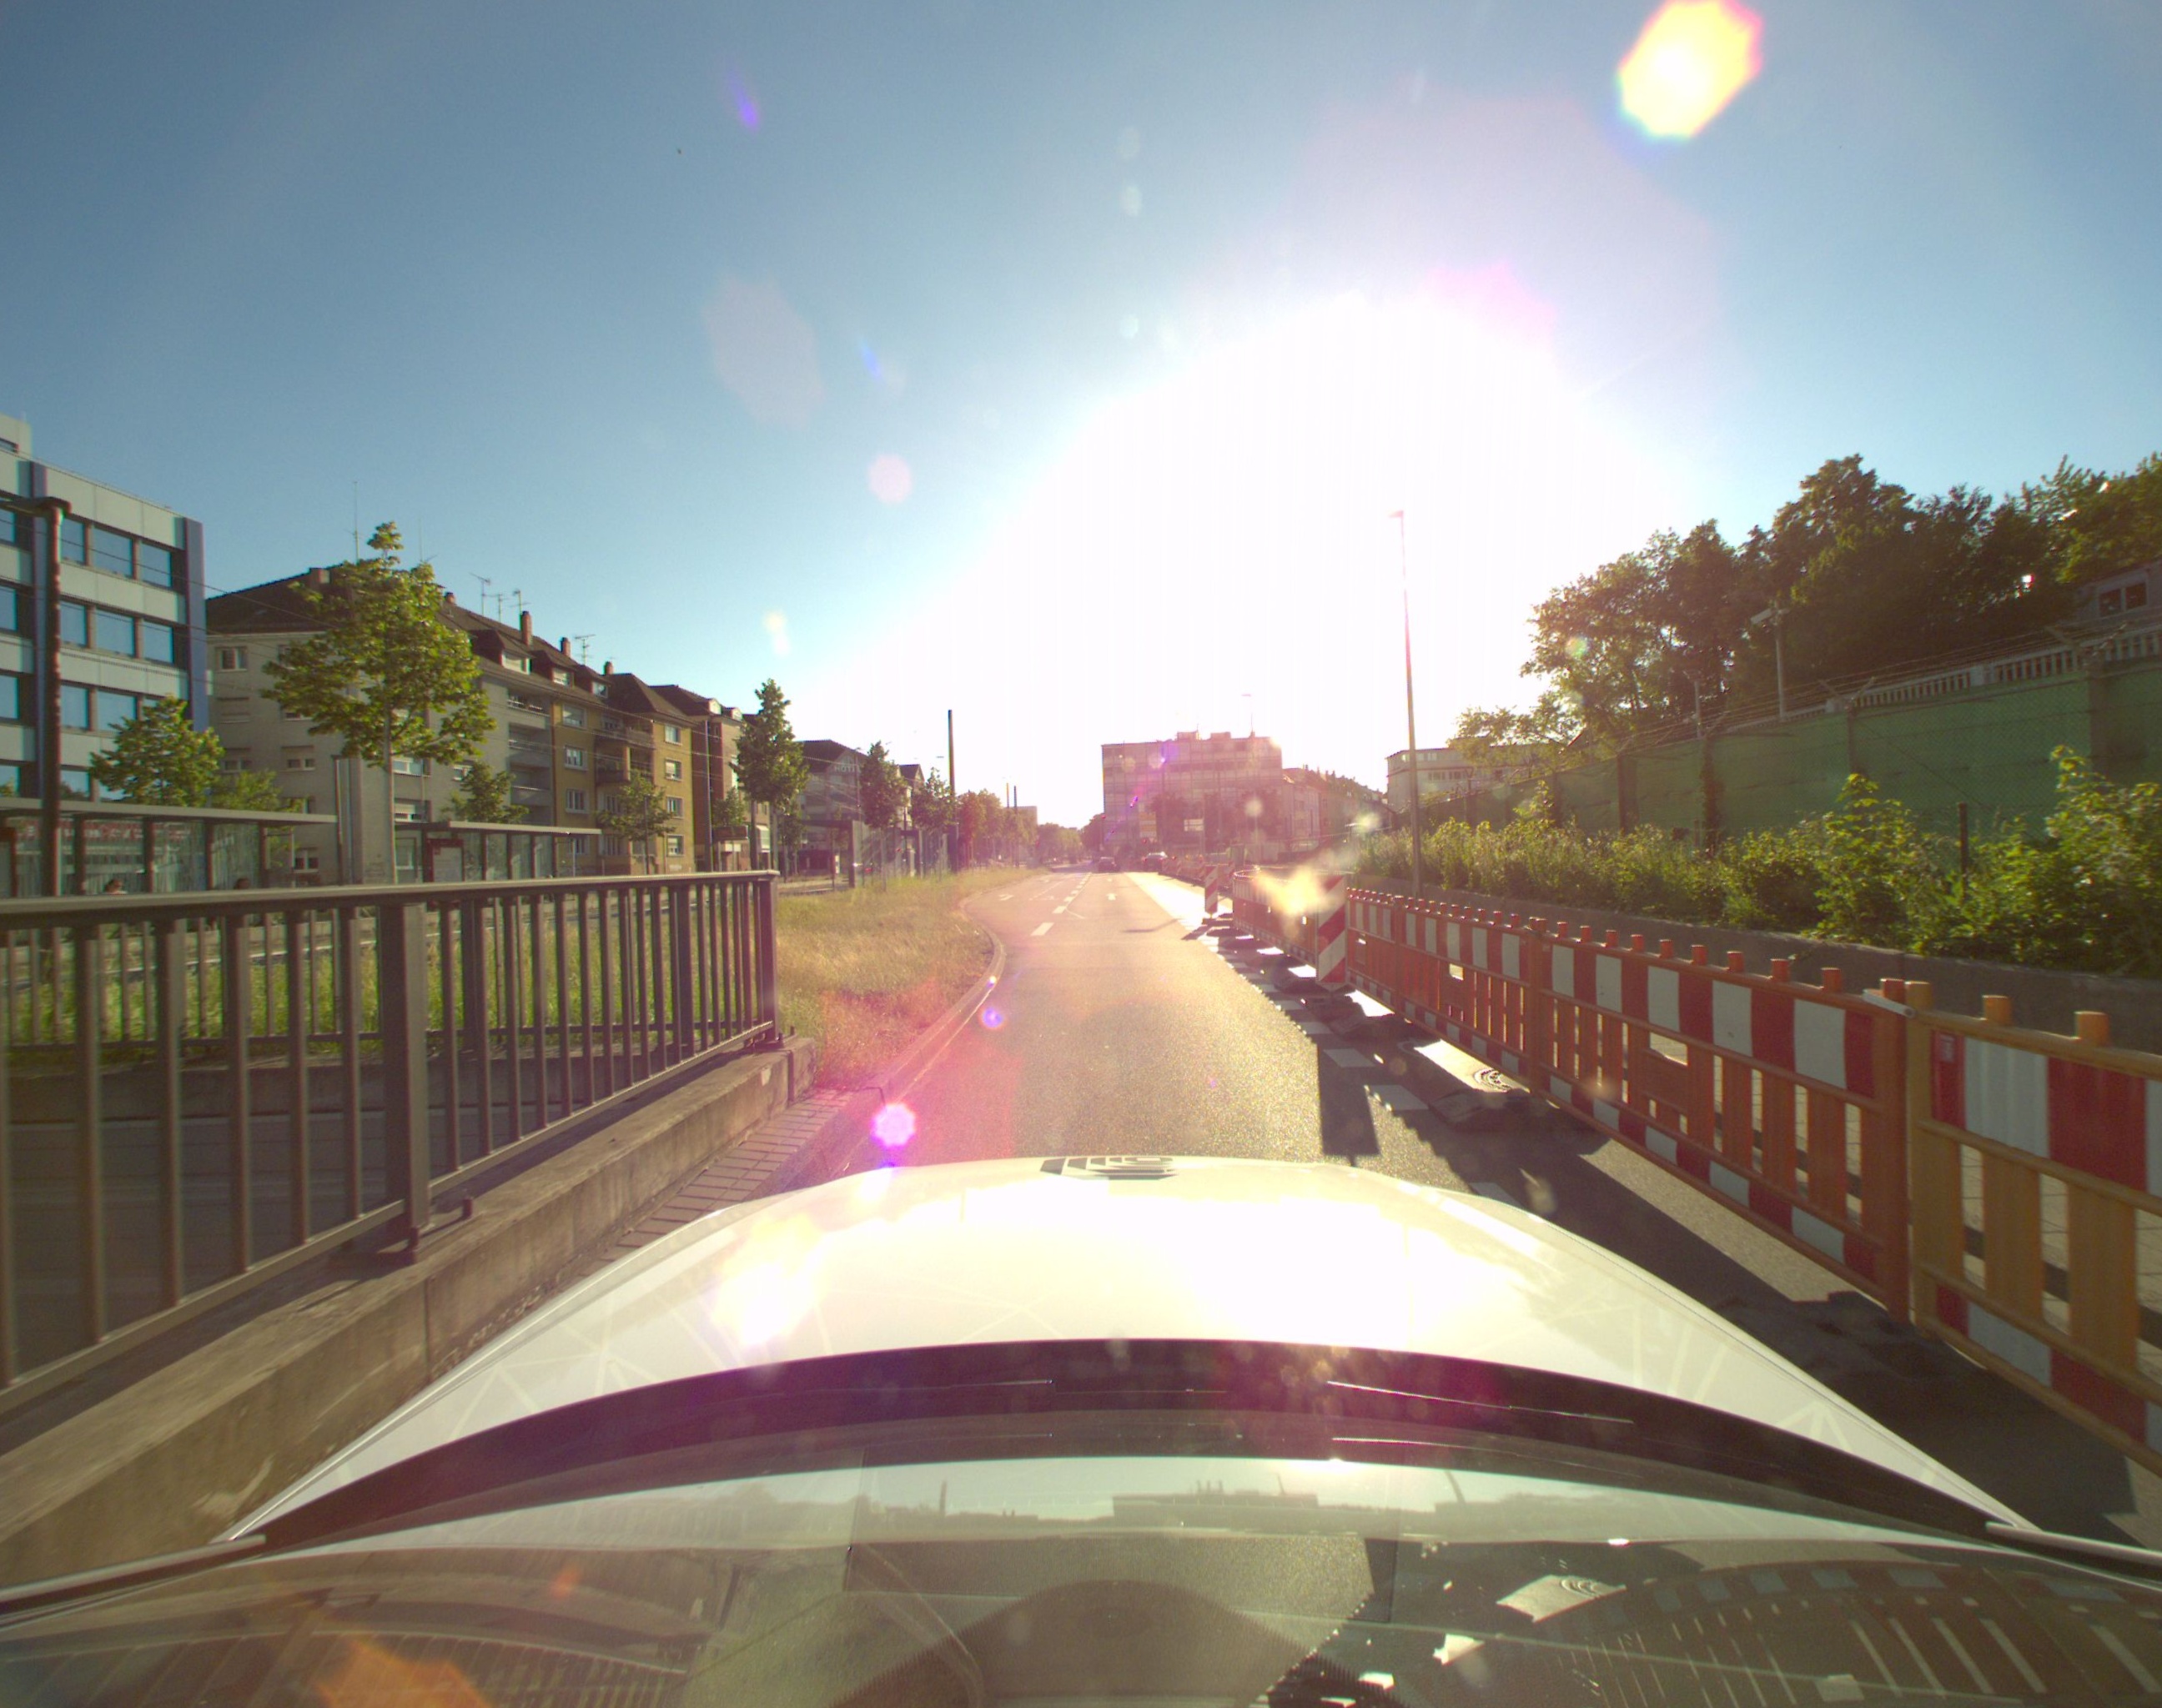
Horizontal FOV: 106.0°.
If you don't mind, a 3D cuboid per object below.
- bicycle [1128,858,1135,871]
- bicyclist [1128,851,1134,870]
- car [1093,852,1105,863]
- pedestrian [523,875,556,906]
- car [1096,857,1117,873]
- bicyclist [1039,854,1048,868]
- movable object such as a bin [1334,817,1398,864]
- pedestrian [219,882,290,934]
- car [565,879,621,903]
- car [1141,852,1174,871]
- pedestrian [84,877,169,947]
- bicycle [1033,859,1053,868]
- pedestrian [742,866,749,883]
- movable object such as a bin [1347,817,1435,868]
[{"bbox_3d":[5.230,1.075,84.194,0.642,1.223,2.049,0,1,2],"label":"bicycle"},{"bbox_3d":[5.181,0.667,84.174,0.641,2.013,1.068,0,1,2],"label":"bicyclist"},{"bbox_3d":[4.025,0.777,181.656,2.477,2.392,5.934,-4,-1,1],"label":"car"},{"bbox_3d":[-19.703,1.321,29.637,0.625,1.047,0.794,-2,-1,1],"label":"pedestrian"},{"bbox_3d":[2.422,1.012,77.539,1.735,1.426,4.006,-2,0,5],"label":"car"},{"bbox_3d":[-4.528,0.805,97.271,0.954,1.661,0.692,-2,-1,4],"label":"bicyclist"},{"bbox_3d":[17.810,-0.785,51.190,2.268,2.704,4.943,-2,0,1],"label":"movable object such as a bin"},{"bbox_3d":[-20.173,1.306,19.889,0.930,1.197,0.764,-2,-1,1],"label":"pedestrian"},{"bbox_3d":[-34.265,2.592,57.295,1.741,1.486,3.553,-3,0,1],"label":"car"},{"bbox_3d":[7.419,0.675,78.789,1.975,1.693,4.023,0,1,25],"label":"car"},{"bbox_3d":[-20.277,1.221,17.318,0.835,1.410,0.804,-2,-1,1],"label":"pedestrian"},{"bbox_3d":[-4.546,1.115,97.266,2.216,1.026,0.683,-2,-1,4],"label":"bicycle"},{"bbox_3d":[-35.736,2.191,86.774,0.483,1.822,0.548,-2,-1,-2],"label":"pedestrian"},{"bbox_3d":[23.918,-0.847,62.812,6.005,3.558,2.879,-2,0,26],"label":"movable object such as a bin"}]
